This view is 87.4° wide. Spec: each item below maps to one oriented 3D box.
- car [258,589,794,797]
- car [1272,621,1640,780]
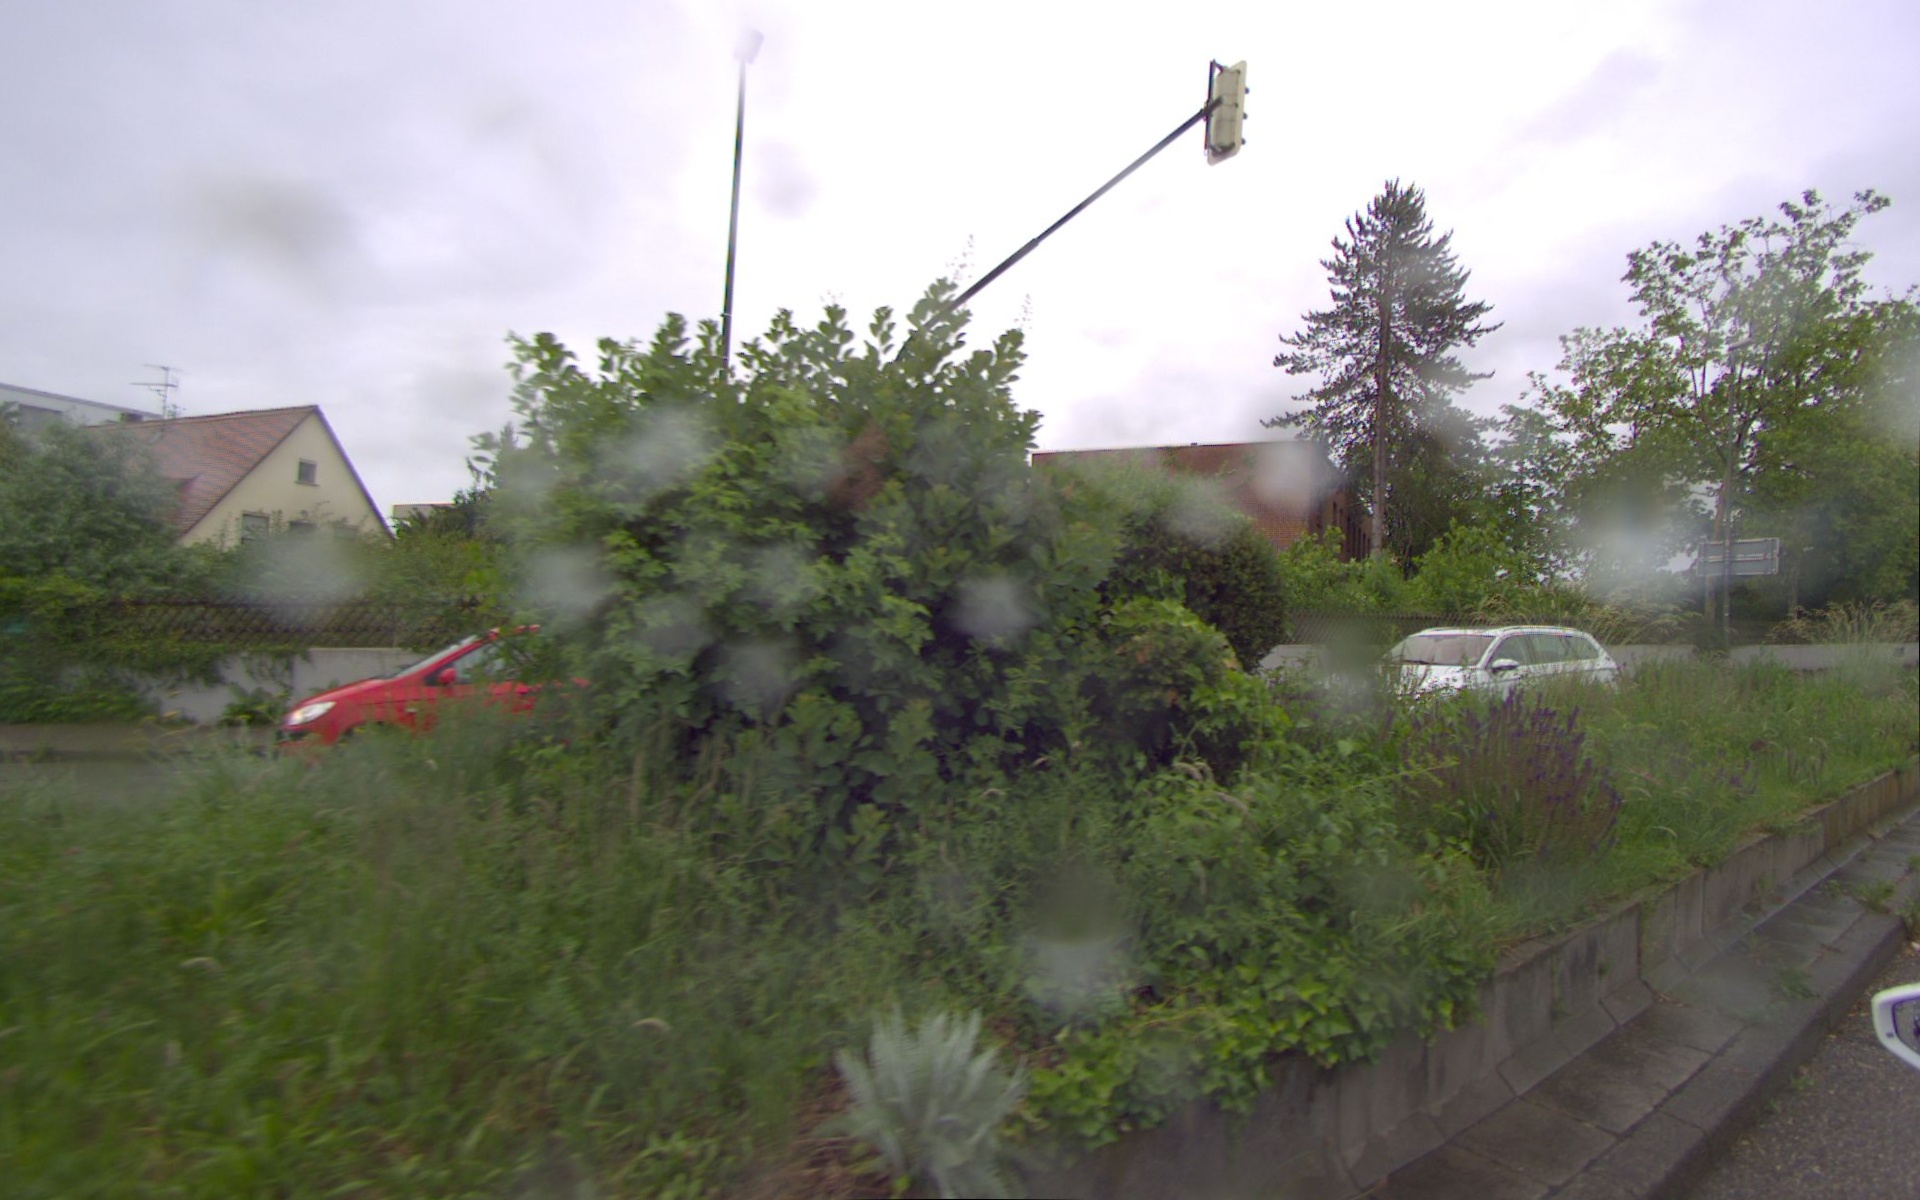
[{"bbox_3d":[-4.181,0.838,10.151,4.543,1.684,1.985,2,-2,-30],"label":"car"},{"bbox_3d":[6.307,1.156,12.666,4.543,1.684,1.985,2,-2,-30],"label":"car"}]
